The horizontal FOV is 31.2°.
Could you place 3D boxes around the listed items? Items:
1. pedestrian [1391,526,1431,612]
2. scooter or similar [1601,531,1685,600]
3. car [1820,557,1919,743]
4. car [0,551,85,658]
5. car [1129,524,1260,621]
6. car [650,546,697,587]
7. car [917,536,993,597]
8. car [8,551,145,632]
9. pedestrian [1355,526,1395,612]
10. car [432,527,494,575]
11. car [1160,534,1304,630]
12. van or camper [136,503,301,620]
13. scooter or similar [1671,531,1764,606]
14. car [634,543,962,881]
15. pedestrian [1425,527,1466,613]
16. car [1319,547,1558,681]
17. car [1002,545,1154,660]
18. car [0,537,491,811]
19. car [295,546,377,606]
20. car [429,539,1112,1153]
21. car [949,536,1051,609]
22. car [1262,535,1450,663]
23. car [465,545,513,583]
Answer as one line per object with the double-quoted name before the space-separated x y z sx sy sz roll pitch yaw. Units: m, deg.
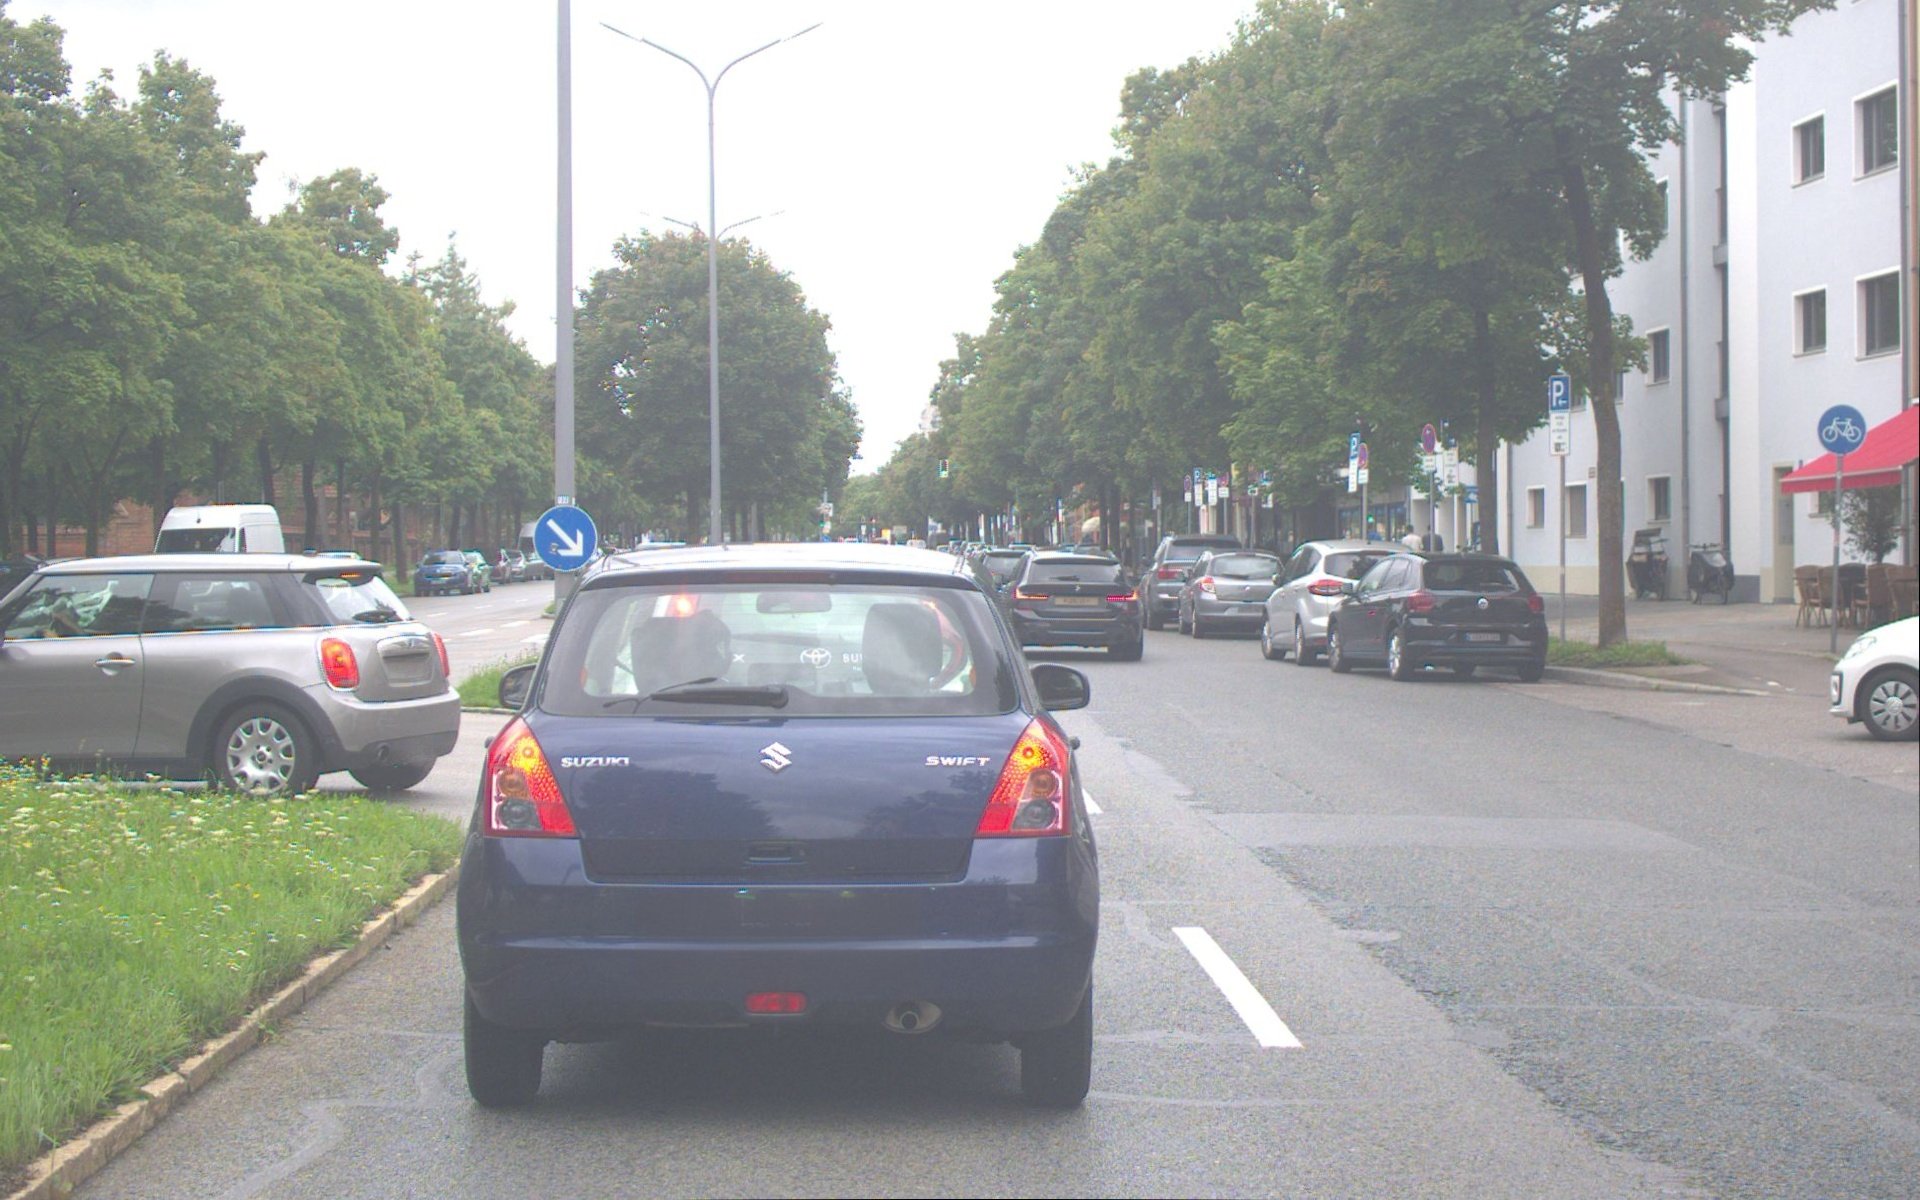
"pedestrian" 10.605 -0.729 80.796 0.794 2.007 1.006 0 1 -1
"scooter or similar" 13.117 -0.673 66.094 1.033 1.303 2.755 0 1 -1
"car" 8.730 0.377 26.866 3.554 1.412 1.869 0 1 28
"car" -15.958 0.046 57.786 1.632 1.735 3.879 1 1 -2
"car" 4.219 -0.527 62.409 1.865 1.677 4.225 -1 1 -3
"car" -11.108 -1.303 133.590 1.632 1.547 3.879 1 1 -2
"car" -0.138 -0.809 81.910 1.682 1.379 3.919 1 1 -2
"car" -16.176 -0.170 63.117 1.632 1.426 3.879 1 1 -2
"pedestrian" 9.757 -0.740 80.885 0.794 2.007 1.006 0 1 -1
"car" -16.739 -1.645 115.838 1.632 1.577 3.879 1 1 -2
"car" 4.525 -0.334 57.720 1.865 1.512 4.225 -1 1 -3
"van or camper" -16.580 -0.868 77.288 2.117 2.473 7.449 1 1 0
"scooter or similar" 13.566 -0.583 61.627 1.033 1.303 2.755 0 1 -1
"car" -0.778 0.469 16.755 1.444 1.478 3.107 0 1 -2
"pedestrian" 11.422 -0.721 80.875 0.794 2.007 1.006 0 1 -1
"car" 5.453 0.116 39.695 1.865 1.412 4.225 -1 1 -4
"car" 1.529 -0.008 45.948 1.758 1.408 4.463 1 1 -1
"car" -4.761 0.372 19.810 3.725 1.458 1.686 1 1 17
"car" -16.830 -0.665 92.819 1.632 1.577 3.879 1 1 -2
"car" -0.545 0.574 10.457 1.682 1.496 3.919 0 1 -2
"car" 0.802 -0.604 71.570 1.731 1.427 4.443 1 1 -4
"car" 5.060 -0.053 44.436 1.791 1.553 4.225 -1 1 -2
"car" -19.980 -1.522 145.907 1.632 1.577 3.879 1 1 -2
